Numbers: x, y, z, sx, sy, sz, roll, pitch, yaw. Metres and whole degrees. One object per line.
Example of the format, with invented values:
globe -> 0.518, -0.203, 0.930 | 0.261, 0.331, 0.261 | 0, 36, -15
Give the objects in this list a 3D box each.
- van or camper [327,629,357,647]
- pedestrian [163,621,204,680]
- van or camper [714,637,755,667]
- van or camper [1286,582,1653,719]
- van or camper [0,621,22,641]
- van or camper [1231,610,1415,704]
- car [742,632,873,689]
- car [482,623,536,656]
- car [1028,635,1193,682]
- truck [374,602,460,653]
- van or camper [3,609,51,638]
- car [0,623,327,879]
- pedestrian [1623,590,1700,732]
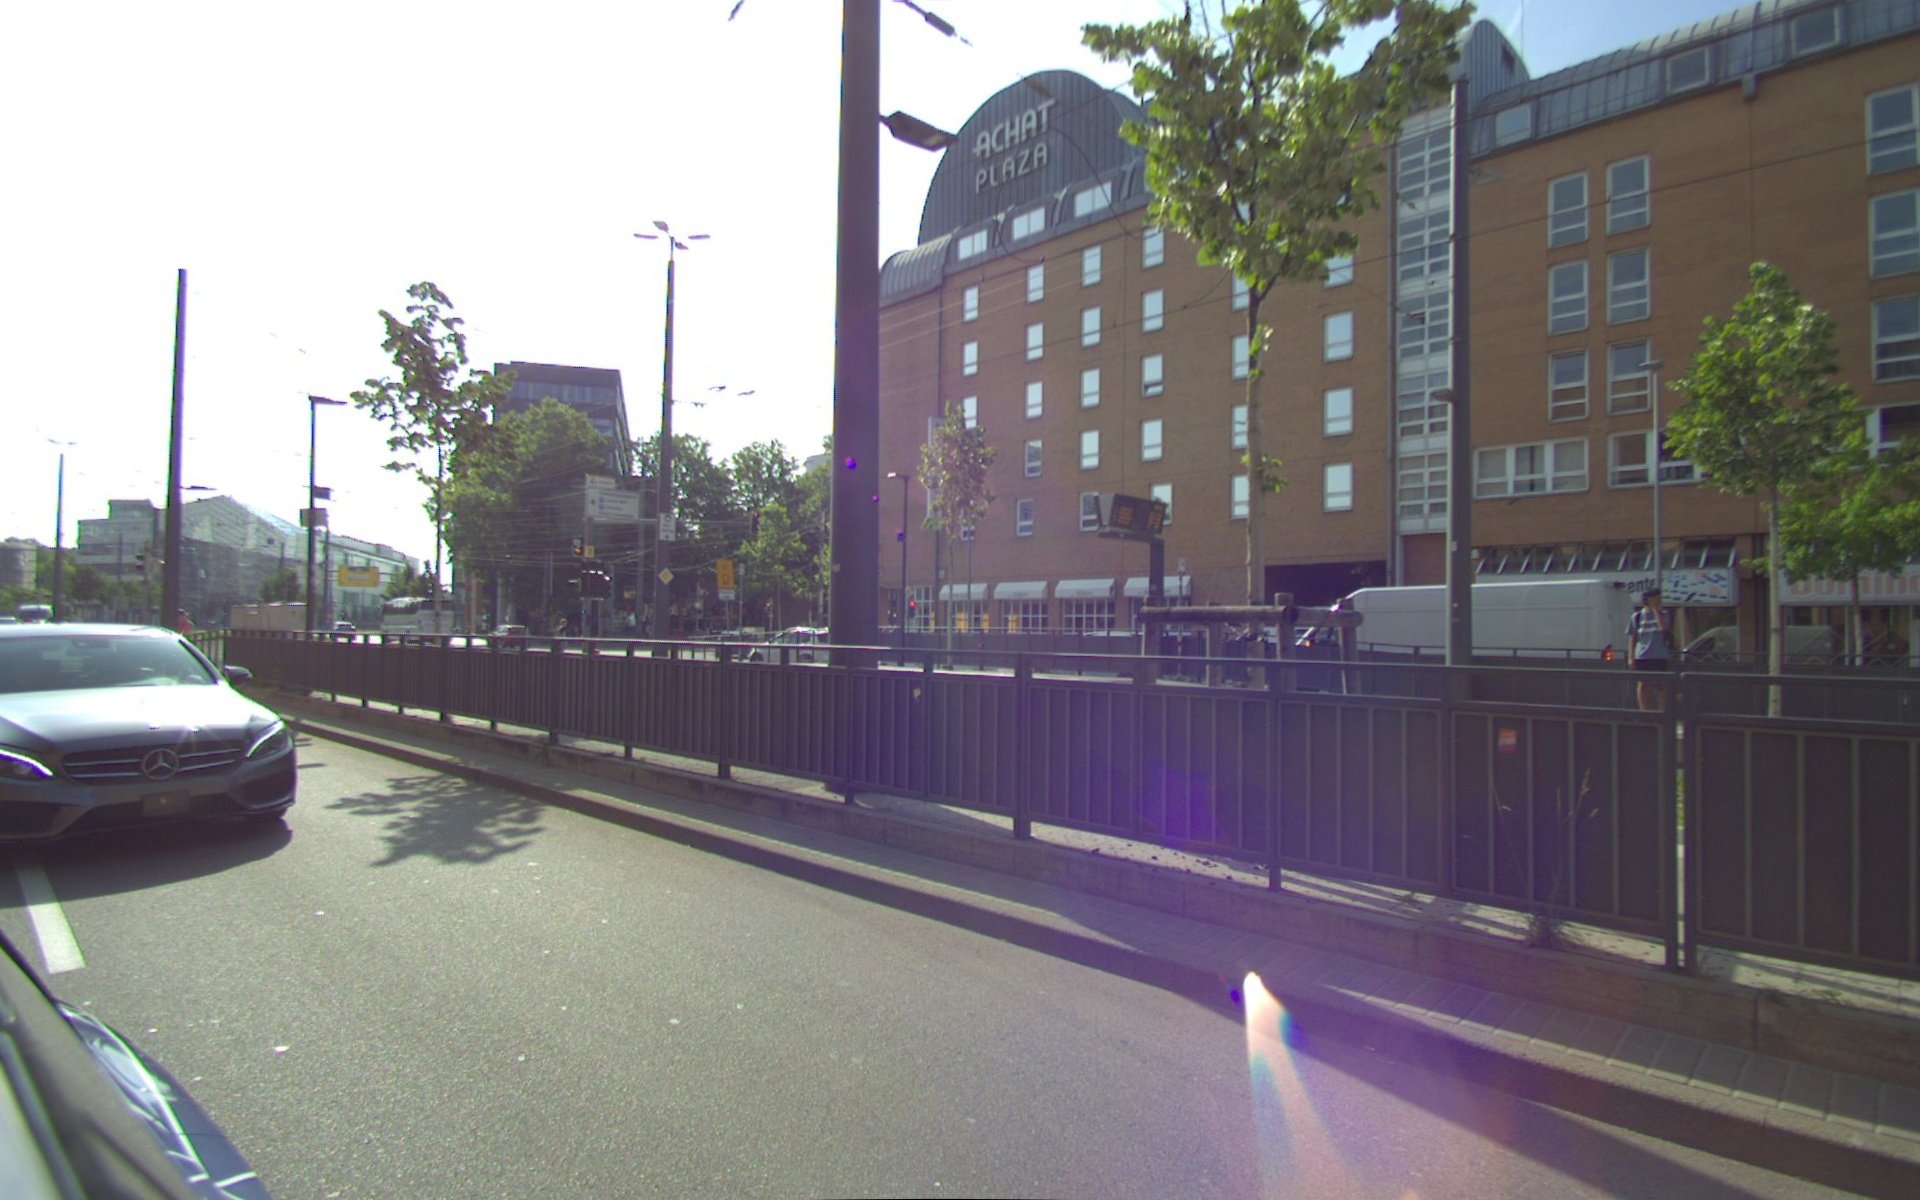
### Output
van or camper -> -55.480, 3.390, 90.862 | 1.816, 1.564, 4.008 | 3, -3, -38
pedestrian -> -22.081, 1.428, 28.782 | 0.640, 1.646, 0.579 | 0, -3, 11
van or camper -> -12.294, 2.803, 55.402 | 1.898, 1.549, 4.007 | 1, -2, -9
van or camper -> 8.669, 0.838, 17.637 | 5.344, 2.029, 2.058 | -2, -4, 45
van or camper -> -66.178, 2.129, 69.455 | 1.902, 1.323, 3.998 | 3, -3, -32
van or camper -> 11.741, 1.786, 33.040 | 1.970, 2.823, 5.356 | 3, -3, -44
car -> -4.763, 1.833, 31.331 | 4.026, 1.630, 1.971 | -1, -3, 45
car -> -29.185, 2.531, 65.493 | 1.970, 2.029, 4.004 | 3, -3, -43
car -> 3.356, 1.305, 22.968 | 1.527, 0.978, 3.490 | 4, -4, -45
truck -> -43.573, 2.199, 80.937 | 3.122, 3.805, 12.375 | 3, -3, -42
van or camper -> -73.092, 1.864, 79.344 | 1.902, 2.228, 3.998 | 3, -3, -32
car -> -6.517, 0.883, 7.505 | 4.233, 1.403, 1.883 | -1, -2, 40
pedestrian -> 9.134, 0.766, 13.177 | 0.643, 1.774, 0.699 | -1, 0, -44
